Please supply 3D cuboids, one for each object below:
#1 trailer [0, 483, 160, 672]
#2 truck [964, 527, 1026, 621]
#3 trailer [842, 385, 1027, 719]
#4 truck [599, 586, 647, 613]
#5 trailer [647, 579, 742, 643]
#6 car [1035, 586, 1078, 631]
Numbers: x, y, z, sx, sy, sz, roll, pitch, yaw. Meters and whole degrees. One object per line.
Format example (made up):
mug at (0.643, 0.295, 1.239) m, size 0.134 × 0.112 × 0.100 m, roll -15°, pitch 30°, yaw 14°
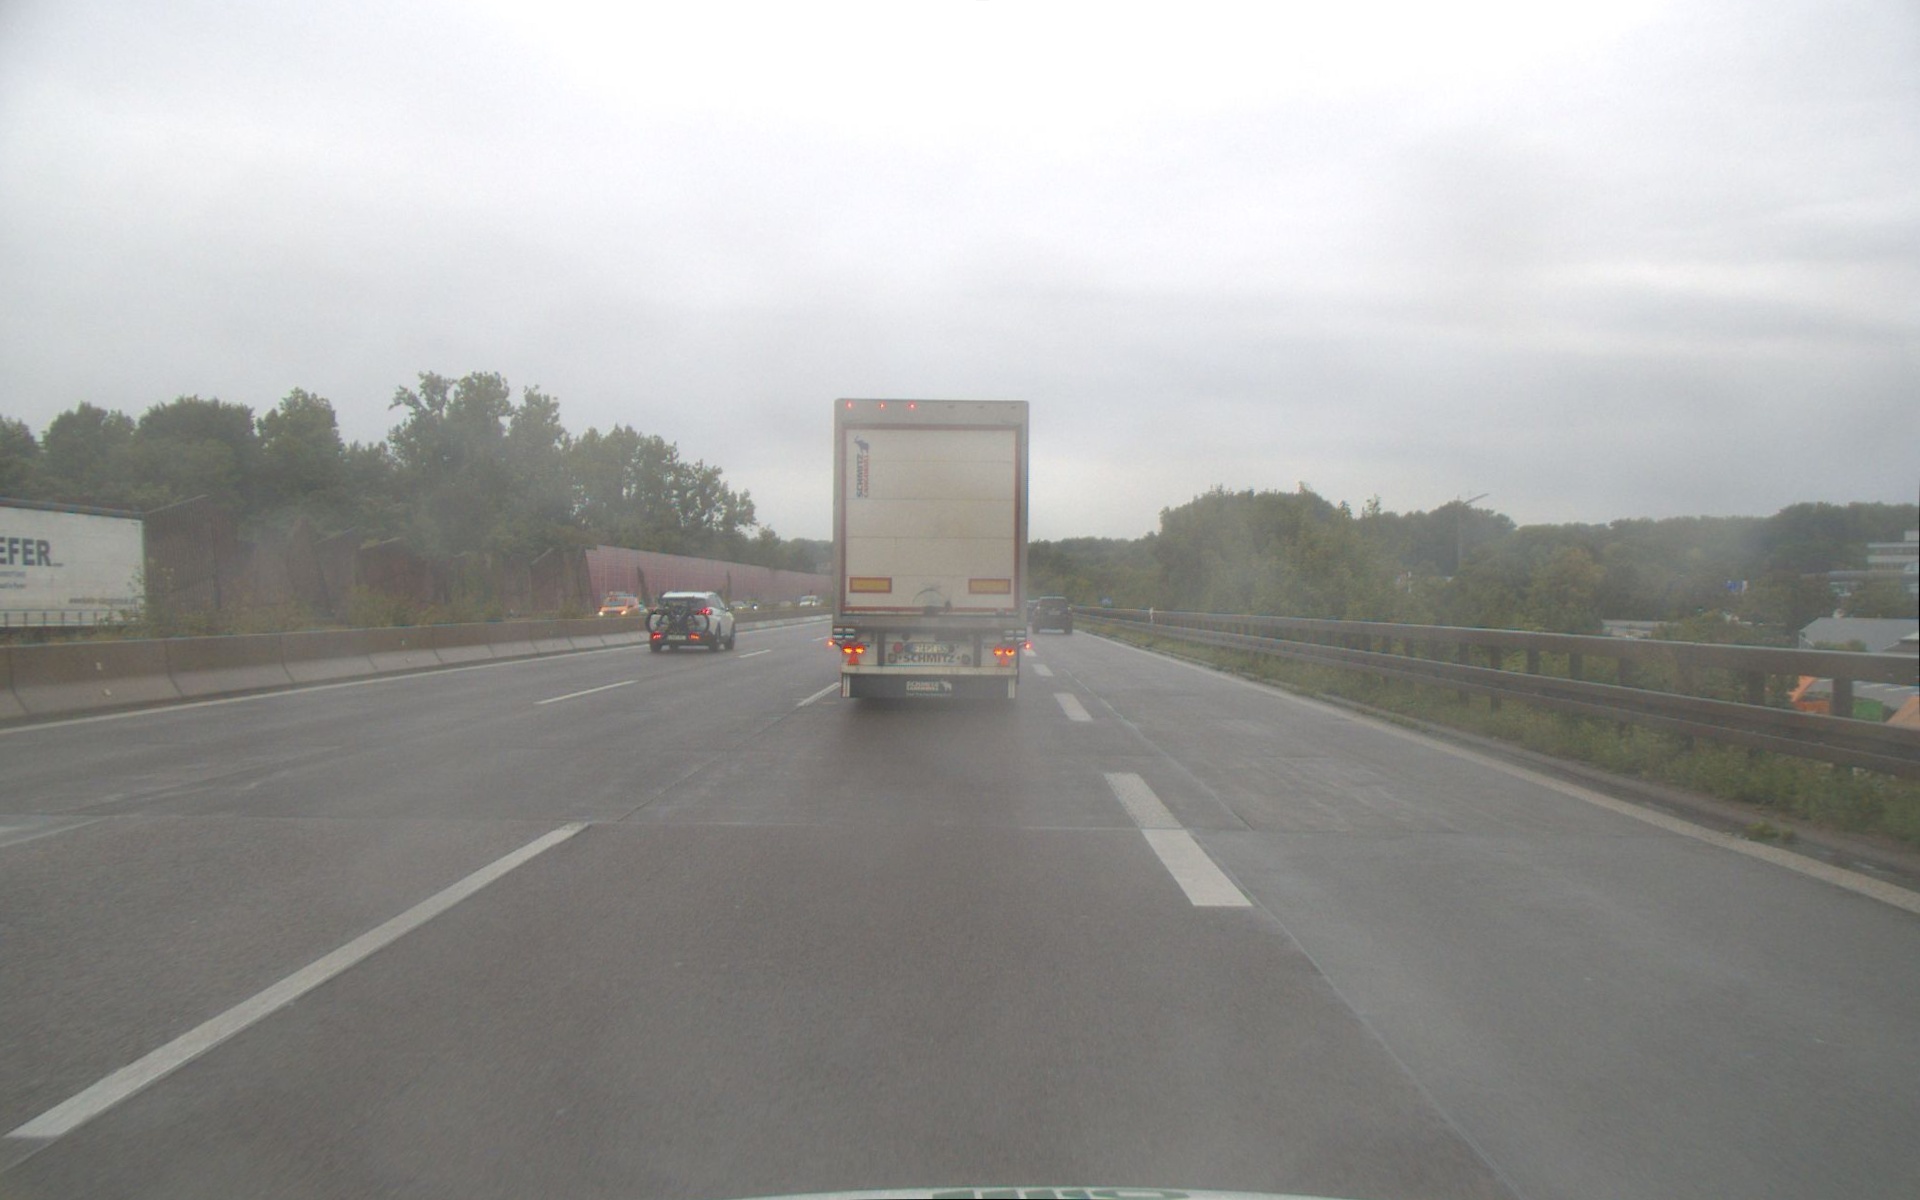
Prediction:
trailer at (-23.183, -0.539, 37.859) m, size 2.993 × 4.259 × 13.570 m, roll 1°, pitch 0°, yaw 0°
truck at (2.057, -1.495, 99.180) m, size 3.461 × 5.273 × 9.893 m, roll 1°, pitch 0°, yaw 1°
trailer at (-0.230, -0.755, 28.621) m, size 2.294 × 4.229 × 14.829 m, roll 1°, pitch 1°, yaw 1°
truck at (-21.981, -0.030, 108.110) m, size 1.952 × 1.770 × 5.017 m, roll 0°, pitch 0°, yaw 1°
trailer at (-7.148, 0.261, 44.891) m, size 1.777 × 1.653 × 4.568 m, roll 0°, pitch 1°, yaw 1°
car at (4.491, 0.378, 77.601) m, size 1.858 × 1.983 × 4.001 m, roll 1°, pitch 0°, yaw 2°
